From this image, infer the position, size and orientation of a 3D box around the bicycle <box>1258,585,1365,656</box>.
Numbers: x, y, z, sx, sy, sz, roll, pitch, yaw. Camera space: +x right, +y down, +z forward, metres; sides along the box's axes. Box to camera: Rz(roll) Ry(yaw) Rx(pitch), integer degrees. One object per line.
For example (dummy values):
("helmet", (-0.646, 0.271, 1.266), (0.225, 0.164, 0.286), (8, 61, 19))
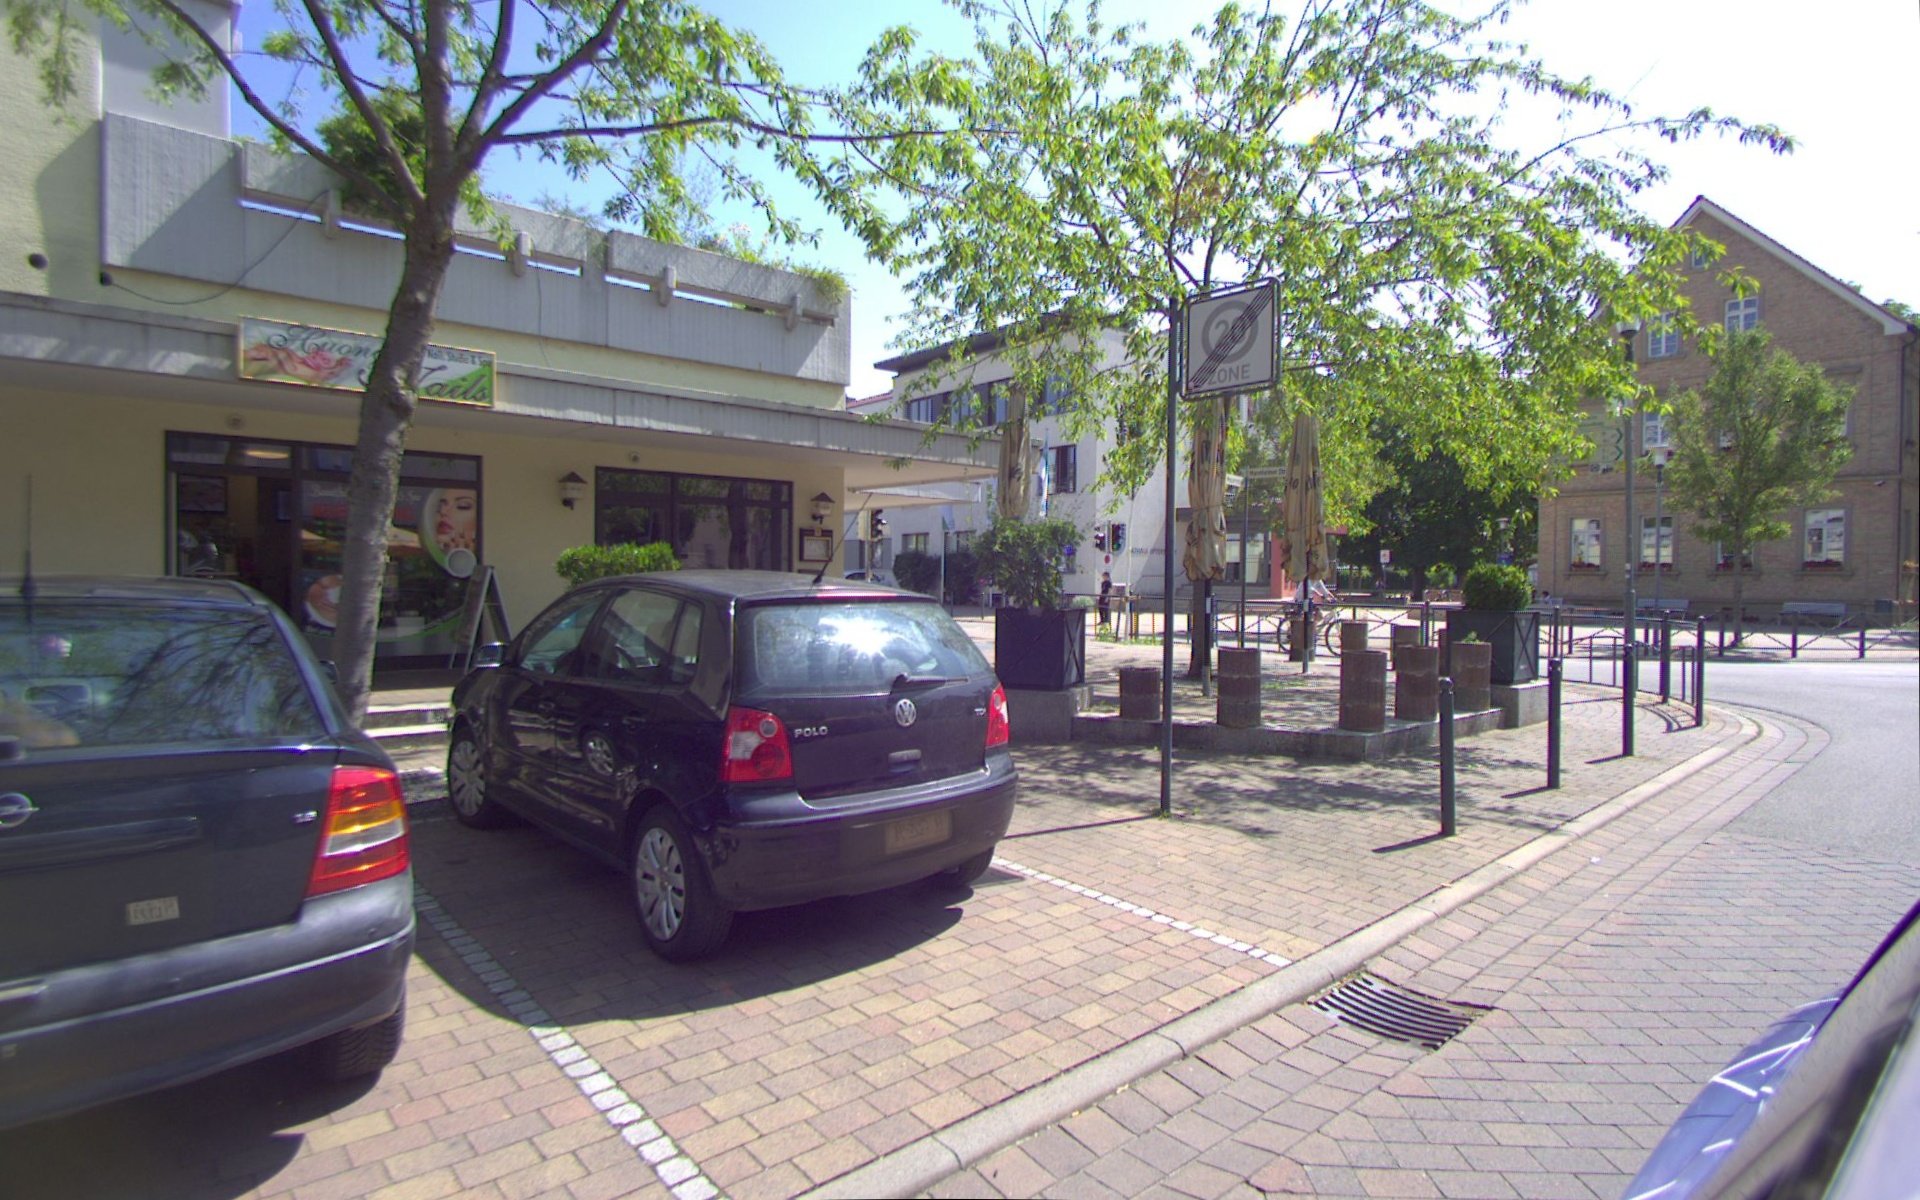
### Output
("bicycle", (6.603, 0.356, 19.098), (0.678, 1.204, 1.797), (-1, 3, -40))

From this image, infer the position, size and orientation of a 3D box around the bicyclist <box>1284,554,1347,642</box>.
("bicyclist", (6.677, -0.051, 19.027), (0.691, 1.601, 0.877), (-1, 2, -40))

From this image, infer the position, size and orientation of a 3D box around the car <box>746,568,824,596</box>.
("car", (-10.118, -1.071, 58.553), (4.248, 1.497, 1.513), (-2, 3, -37))

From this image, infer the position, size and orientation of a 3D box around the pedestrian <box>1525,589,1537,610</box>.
("pedestrian", (22.951, -0.033, 40.660), (0.365, 0.828, 0.357), (1, 0, 36))

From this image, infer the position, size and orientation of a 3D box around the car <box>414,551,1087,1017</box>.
("car", (-1.410, 0.522, 5.378), (1.742, 1.528, 3.965), (-1, 3, -42))

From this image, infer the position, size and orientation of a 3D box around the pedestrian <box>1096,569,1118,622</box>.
("pedestrian", (4.566, -0.142, 31.524), (0.539, 1.638, 0.558), (1, 2, -3))

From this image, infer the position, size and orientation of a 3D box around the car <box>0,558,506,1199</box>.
("car", (-3.154, 0.621, 3.491), (1.753, 1.449, 4.105), (1, 2, -41))

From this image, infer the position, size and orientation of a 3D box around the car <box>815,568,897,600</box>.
("car", (-5.303, -0.846, 51.835), (3.929, 1.566, 1.747), (-2, 2, -39))

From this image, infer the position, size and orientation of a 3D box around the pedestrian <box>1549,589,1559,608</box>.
("pedestrian", (23.509, -0.043, 40.048), (0.288, 0.741, 0.353), (1, 0, 36))
